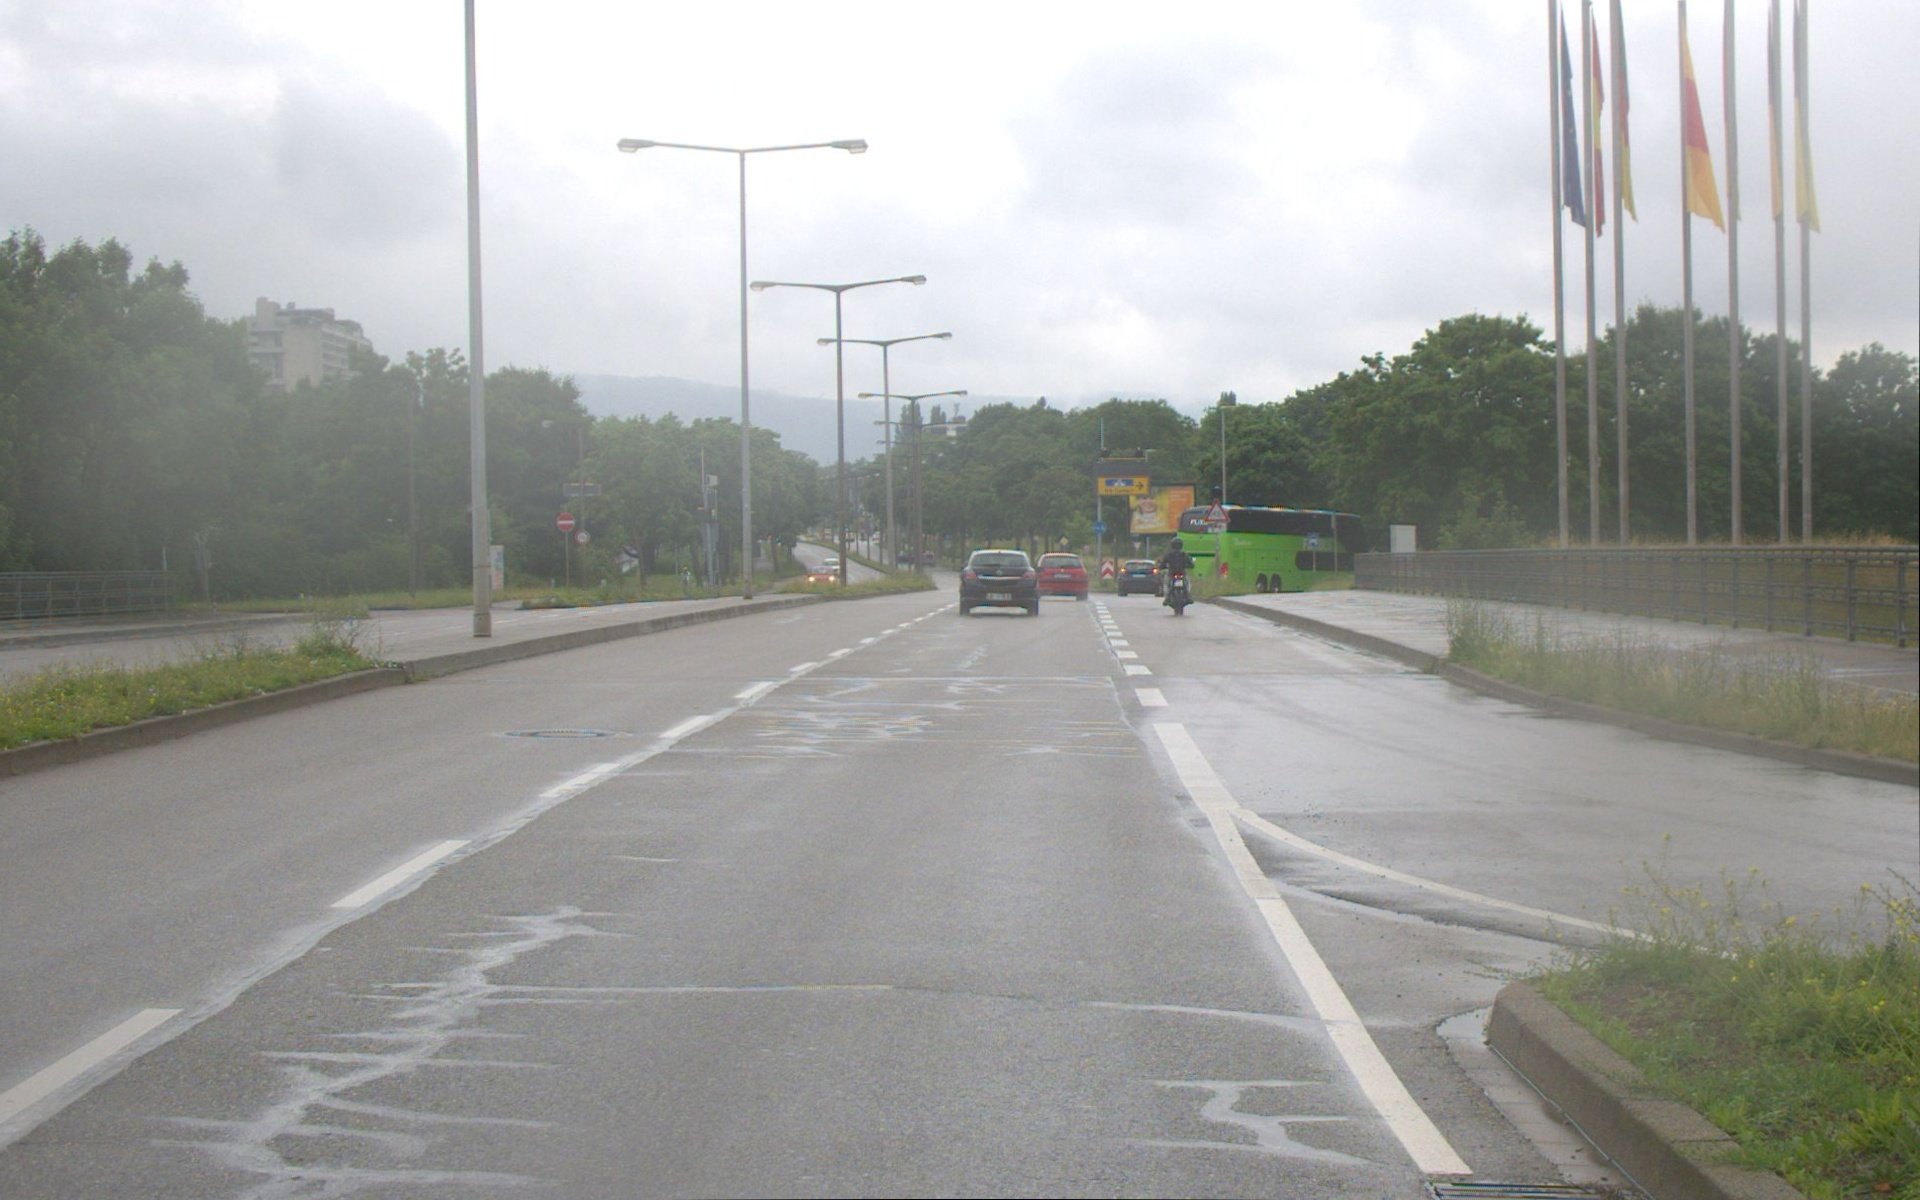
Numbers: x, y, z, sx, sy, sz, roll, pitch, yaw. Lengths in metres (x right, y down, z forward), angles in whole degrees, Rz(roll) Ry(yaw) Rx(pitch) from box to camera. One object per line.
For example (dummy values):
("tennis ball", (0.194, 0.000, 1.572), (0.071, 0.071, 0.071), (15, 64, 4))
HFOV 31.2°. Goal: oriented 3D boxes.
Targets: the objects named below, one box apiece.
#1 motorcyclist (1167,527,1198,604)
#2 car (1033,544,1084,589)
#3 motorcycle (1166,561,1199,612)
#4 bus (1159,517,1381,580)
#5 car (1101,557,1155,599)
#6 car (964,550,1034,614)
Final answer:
("motorcyclist", (4.870, -0.758, 75.325), (0.601, 1.684, 0.860), (0, 1, 0))
("car", (2.996, -1.025, 104.814), (1.463, 1.324, 3.758), (0, 1, 0))
("motorcycle", (4.872, -0.297, 75.351), (0.601, 1.089, 1.732), (0, 1, 0))
("bus", (14.169, -2.273, 155.489), (2.760, 2.670, 14.560), (1, 1, 37))
("car", (6.613, -0.874, 135.795), (1.854, 1.612, 4.000), (1, 1, -1))
("car", (0.828, -0.413, 74.440), (1.463, 1.324, 3.758), (0, 1, 0))
